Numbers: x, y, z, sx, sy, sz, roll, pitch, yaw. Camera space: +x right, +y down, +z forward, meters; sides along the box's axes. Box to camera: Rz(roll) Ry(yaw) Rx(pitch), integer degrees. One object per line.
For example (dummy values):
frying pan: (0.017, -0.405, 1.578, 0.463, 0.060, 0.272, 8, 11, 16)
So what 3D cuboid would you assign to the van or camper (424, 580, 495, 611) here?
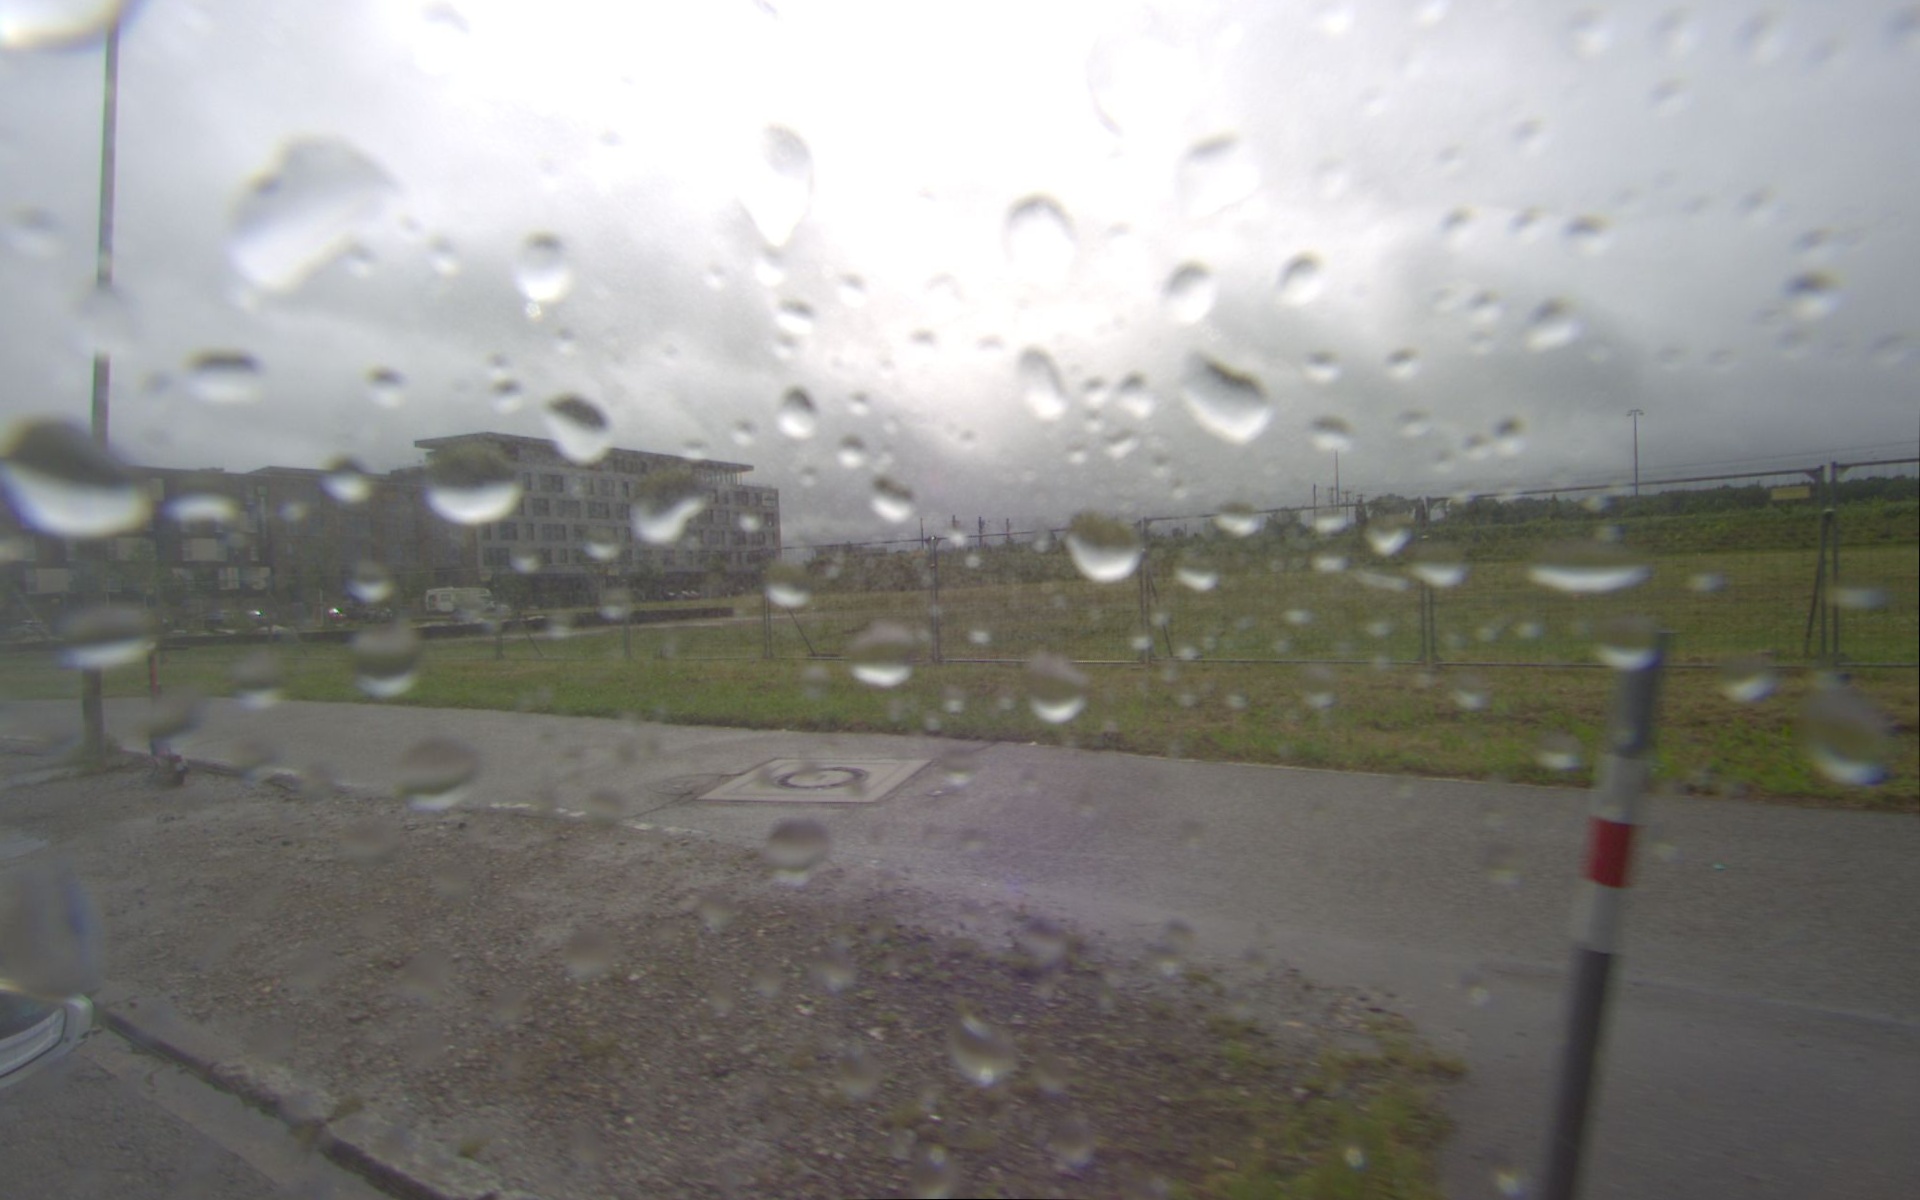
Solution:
van or camper: (-54.851, -0.441, 109.942, 2.491, 3.242, 6.773, -1, -1, 28)

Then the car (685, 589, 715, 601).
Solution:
car: (-38.727, -0.702, 149.145, 4.305, 1.709, 1.791, -2, -1, 31)

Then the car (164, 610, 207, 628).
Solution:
car: (-73.540, 1.774, 95.050, 3.782, 1.636, 1.779, -2, -1, 27)

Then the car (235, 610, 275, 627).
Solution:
car: (-71.042, 1.911, 100.884, 3.782, 1.636, 1.779, -2, -1, 27)

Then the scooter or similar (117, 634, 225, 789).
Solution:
scooter or similar: (-6.967, 0.931, 8.823, 1.325, 1.231, 0.488, -1, 3, 43)

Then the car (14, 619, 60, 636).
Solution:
car: (-79.277, 2.373, 85.987, 3.748, 1.413, 1.762, -2, -1, 27)

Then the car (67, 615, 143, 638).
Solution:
car: (-70.036, 2.179, 82.066, 1.970, 1.794, 4.322, -1, -3, 29)

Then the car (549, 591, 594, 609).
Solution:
car: (-46.469, 0.024, 119.857, 1.971, 2.039, 4.788, -1, -1, 31)

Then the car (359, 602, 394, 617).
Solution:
car: (-65.223, 1.079, 111.905, 3.782, 1.636, 1.543, -2, -1, 27)

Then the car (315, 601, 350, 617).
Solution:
car: (-67.474, 1.003, 107.639, 3.782, 1.636, 1.543, -2, -1, 27)

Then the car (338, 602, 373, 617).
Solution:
car: (-66.251, 1.041, 109.819, 3.782, 1.636, 1.543, -2, -1, 27)

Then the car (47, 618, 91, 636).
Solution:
car: (-78.245, 2.364, 87.943, 3.724, 1.414, 1.636, -3, -1, 28)
